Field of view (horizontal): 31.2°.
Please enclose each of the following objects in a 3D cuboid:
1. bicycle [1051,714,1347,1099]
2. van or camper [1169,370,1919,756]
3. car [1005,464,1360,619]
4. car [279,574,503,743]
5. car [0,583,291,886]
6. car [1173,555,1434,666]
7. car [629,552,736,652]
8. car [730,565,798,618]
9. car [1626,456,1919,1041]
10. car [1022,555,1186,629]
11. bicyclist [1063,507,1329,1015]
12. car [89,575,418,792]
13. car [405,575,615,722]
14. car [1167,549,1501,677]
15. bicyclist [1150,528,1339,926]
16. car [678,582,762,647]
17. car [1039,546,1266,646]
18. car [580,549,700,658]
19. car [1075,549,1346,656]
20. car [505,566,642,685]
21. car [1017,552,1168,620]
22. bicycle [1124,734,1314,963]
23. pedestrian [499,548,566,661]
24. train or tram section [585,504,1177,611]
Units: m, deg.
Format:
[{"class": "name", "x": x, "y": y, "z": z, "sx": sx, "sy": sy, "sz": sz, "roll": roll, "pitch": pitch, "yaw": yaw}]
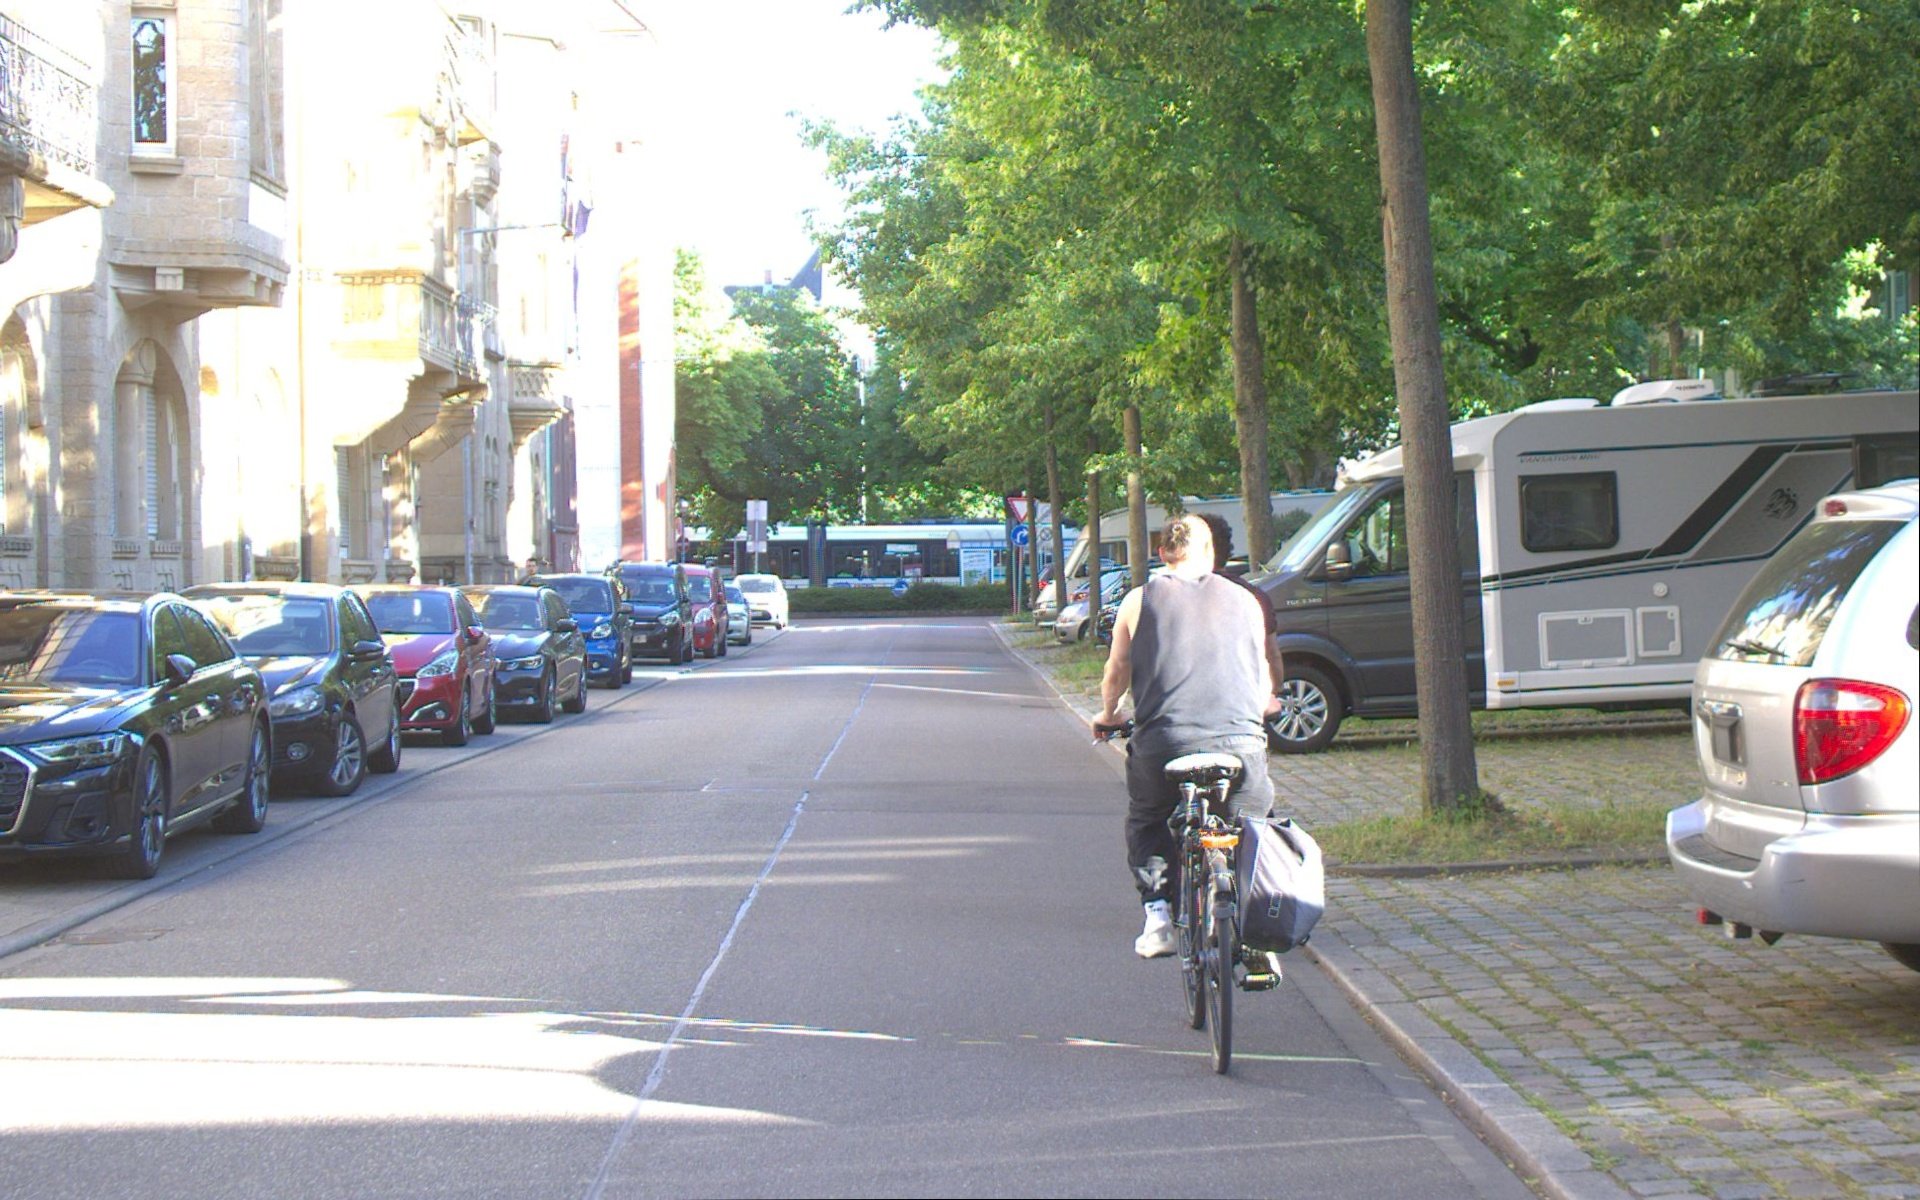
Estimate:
[{"class": "bicycle", "x": 0.725, "y": 0.930, "z": 11.032, "sx": 0.737, "sy": 1.050, "sz": 1.956, "roll": 2, "pitch": 0, "yaw": -1}, {"class": "van or camper", "x": 5.375, "y": -0.337, "z": 27.747, "sx": 7.147, "sy": 2.638, "sz": 2.464, "roll": -3, "pitch": 1, "yaw": 2}, {"class": "car", "x": 4.642, "y": -1.233, "z": 72.543, "sx": 7.146, "sy": 2.968, "sz": 2.465, "roll": -2, "pitch": 0, "yaw": -3}, {"class": "car", "x": -5.288, "y": 0.502, "z": 32.330, "sx": 1.628, "sy": 1.448, "sz": 3.838, "roll": 1, "pitch": 1, "yaw": -3}, {"class": "car", "x": -5.114, "y": 0.643, "z": 19.226, "sx": 1.811, "sy": 1.422, "sz": 4.898, "roll": 2, "pitch": 0, "yaw": -1}, {"class": "car", "x": 5.130, "y": 0.169, "z": 51.752, "sx": 3.773, "sy": 1.594, "sz": 1.690, "roll": -1, "pitch": -1, "yaw": 2}, {"class": "car", "x": -5.402, "y": 0.009, "z": 67.426, "sx": 1.689, "sy": 1.819, "sz": 4.273, "roll": 2, "pitch": 1, "yaw": 0}, {"class": "car", "x": -5.441, "y": -0.247, "z": 95.771, "sx": 1.583, "sy": 1.371, "sz": 4.131, "roll": 2, "pitch": 1, "yaw": 0}, {"class": "car", "x": 4.638, "y": 0.346, "z": 10.993, "sx": 4.619, "sy": 1.704, "sz": 1.833, "roll": -2, "pitch": 1, "yaw": 1}, {"class": "car", "x": 3.628, "y": -0.201, "z": 86.979, "sx": 3.986, "sy": 1.797, "sz": 1.834, "roll": 1, "pitch": 0, "yaw": -2}, {"class": "bicyclist", "x": 0.740, "y": 0.498, "z": 11.030, "sx": 0.730, "sy": 1.542, "sz": 0.884, "roll": 2, "pitch": 0, "yaw": -1}, {"class": "car", "x": -5.054, "y": 0.567, "z": 25.072, "sx": 1.696, "sy": 1.448, "sz": 4.028, "roll": 0, "pitch": 0, "yaw": -2}, {"class": "car", "x": -4.905, "y": 0.490, "z": 37.992, "sx": 1.675, "sy": 1.425, "sz": 4.550, "roll": 2, "pitch": 1, "yaw": 0}, {"class": "car", "x": 4.879, "y": 0.191, "z": 45.266, "sx": 4.223, "sy": 1.594, "sz": 1.690, "roll": -1, "pitch": -1, "yaw": 2}, {"class": "bicyclist", "x": 1.191, "y": 0.516, "z": 14.567, "sx": 0.689, "sy": 1.621, "sz": 0.998, "roll": 1, "pitch": 0, "yaw": 0}, {"class": "car", "x": -5.440, "y": 0.318, "z": 78.307, "sx": 1.583, "sy": 1.339, "sz": 4.131, "roll": 2, "pitch": 1, "yaw": 0}, {"class": "car", "x": 3.628, "y": -0.084, "z": 65.221, "sx": 4.082, "sy": 1.644, "sz": 1.641, "roll": -3, "pitch": 0, "yaw": -2}, {"class": "car", "x": -5.591, "y": 0.022, "z": 60.468, "sx": 1.640, "sy": 1.777, "sz": 4.354, "roll": 2, "pitch": 1, "yaw": 0}, {"class": "car", "x": 3.903, "y": 0.052, "z": 54.069, "sx": 4.139, "sy": 1.594, "sz": 1.702, "roll": -1, "pitch": -1, "yaw": 2}, {"class": "car", "x": -5.309, "y": 0.328, "z": 47.460, "sx": 1.595, "sy": 1.484, "sz": 2.737, "roll": 3, "pitch": 1, "yaw": -2}, {"class": "car", "x": 3.633, "y": -0.379, "z": 94.866, "sx": 3.986, "sy": 1.797, "sz": 1.834, "roll": 1, "pitch": 0, "yaw": -2}, {"class": "bicycle", "x": 1.064, "y": 1.013, "z": 14.442, "sx": 0.633, "sy": 0.796, "sz": 1.832, "roll": -1, "pitch": 1, "yaw": 0}, {"class": "pedestrian", "x": -6.682, "y": 0.071, "z": 53.758, "sx": 0.938, "sy": 1.736, "sz": 0.735, "roll": 1, "pitch": 0, "yaw": 0}, {"class": "train or tram section", "x": -2.948, "y": -1.636, "z": 138.369, "sx": 23.799, "sy": 3.696, "sz": 4.287, "roll": 1, "pitch": 0, "yaw": -22}]
